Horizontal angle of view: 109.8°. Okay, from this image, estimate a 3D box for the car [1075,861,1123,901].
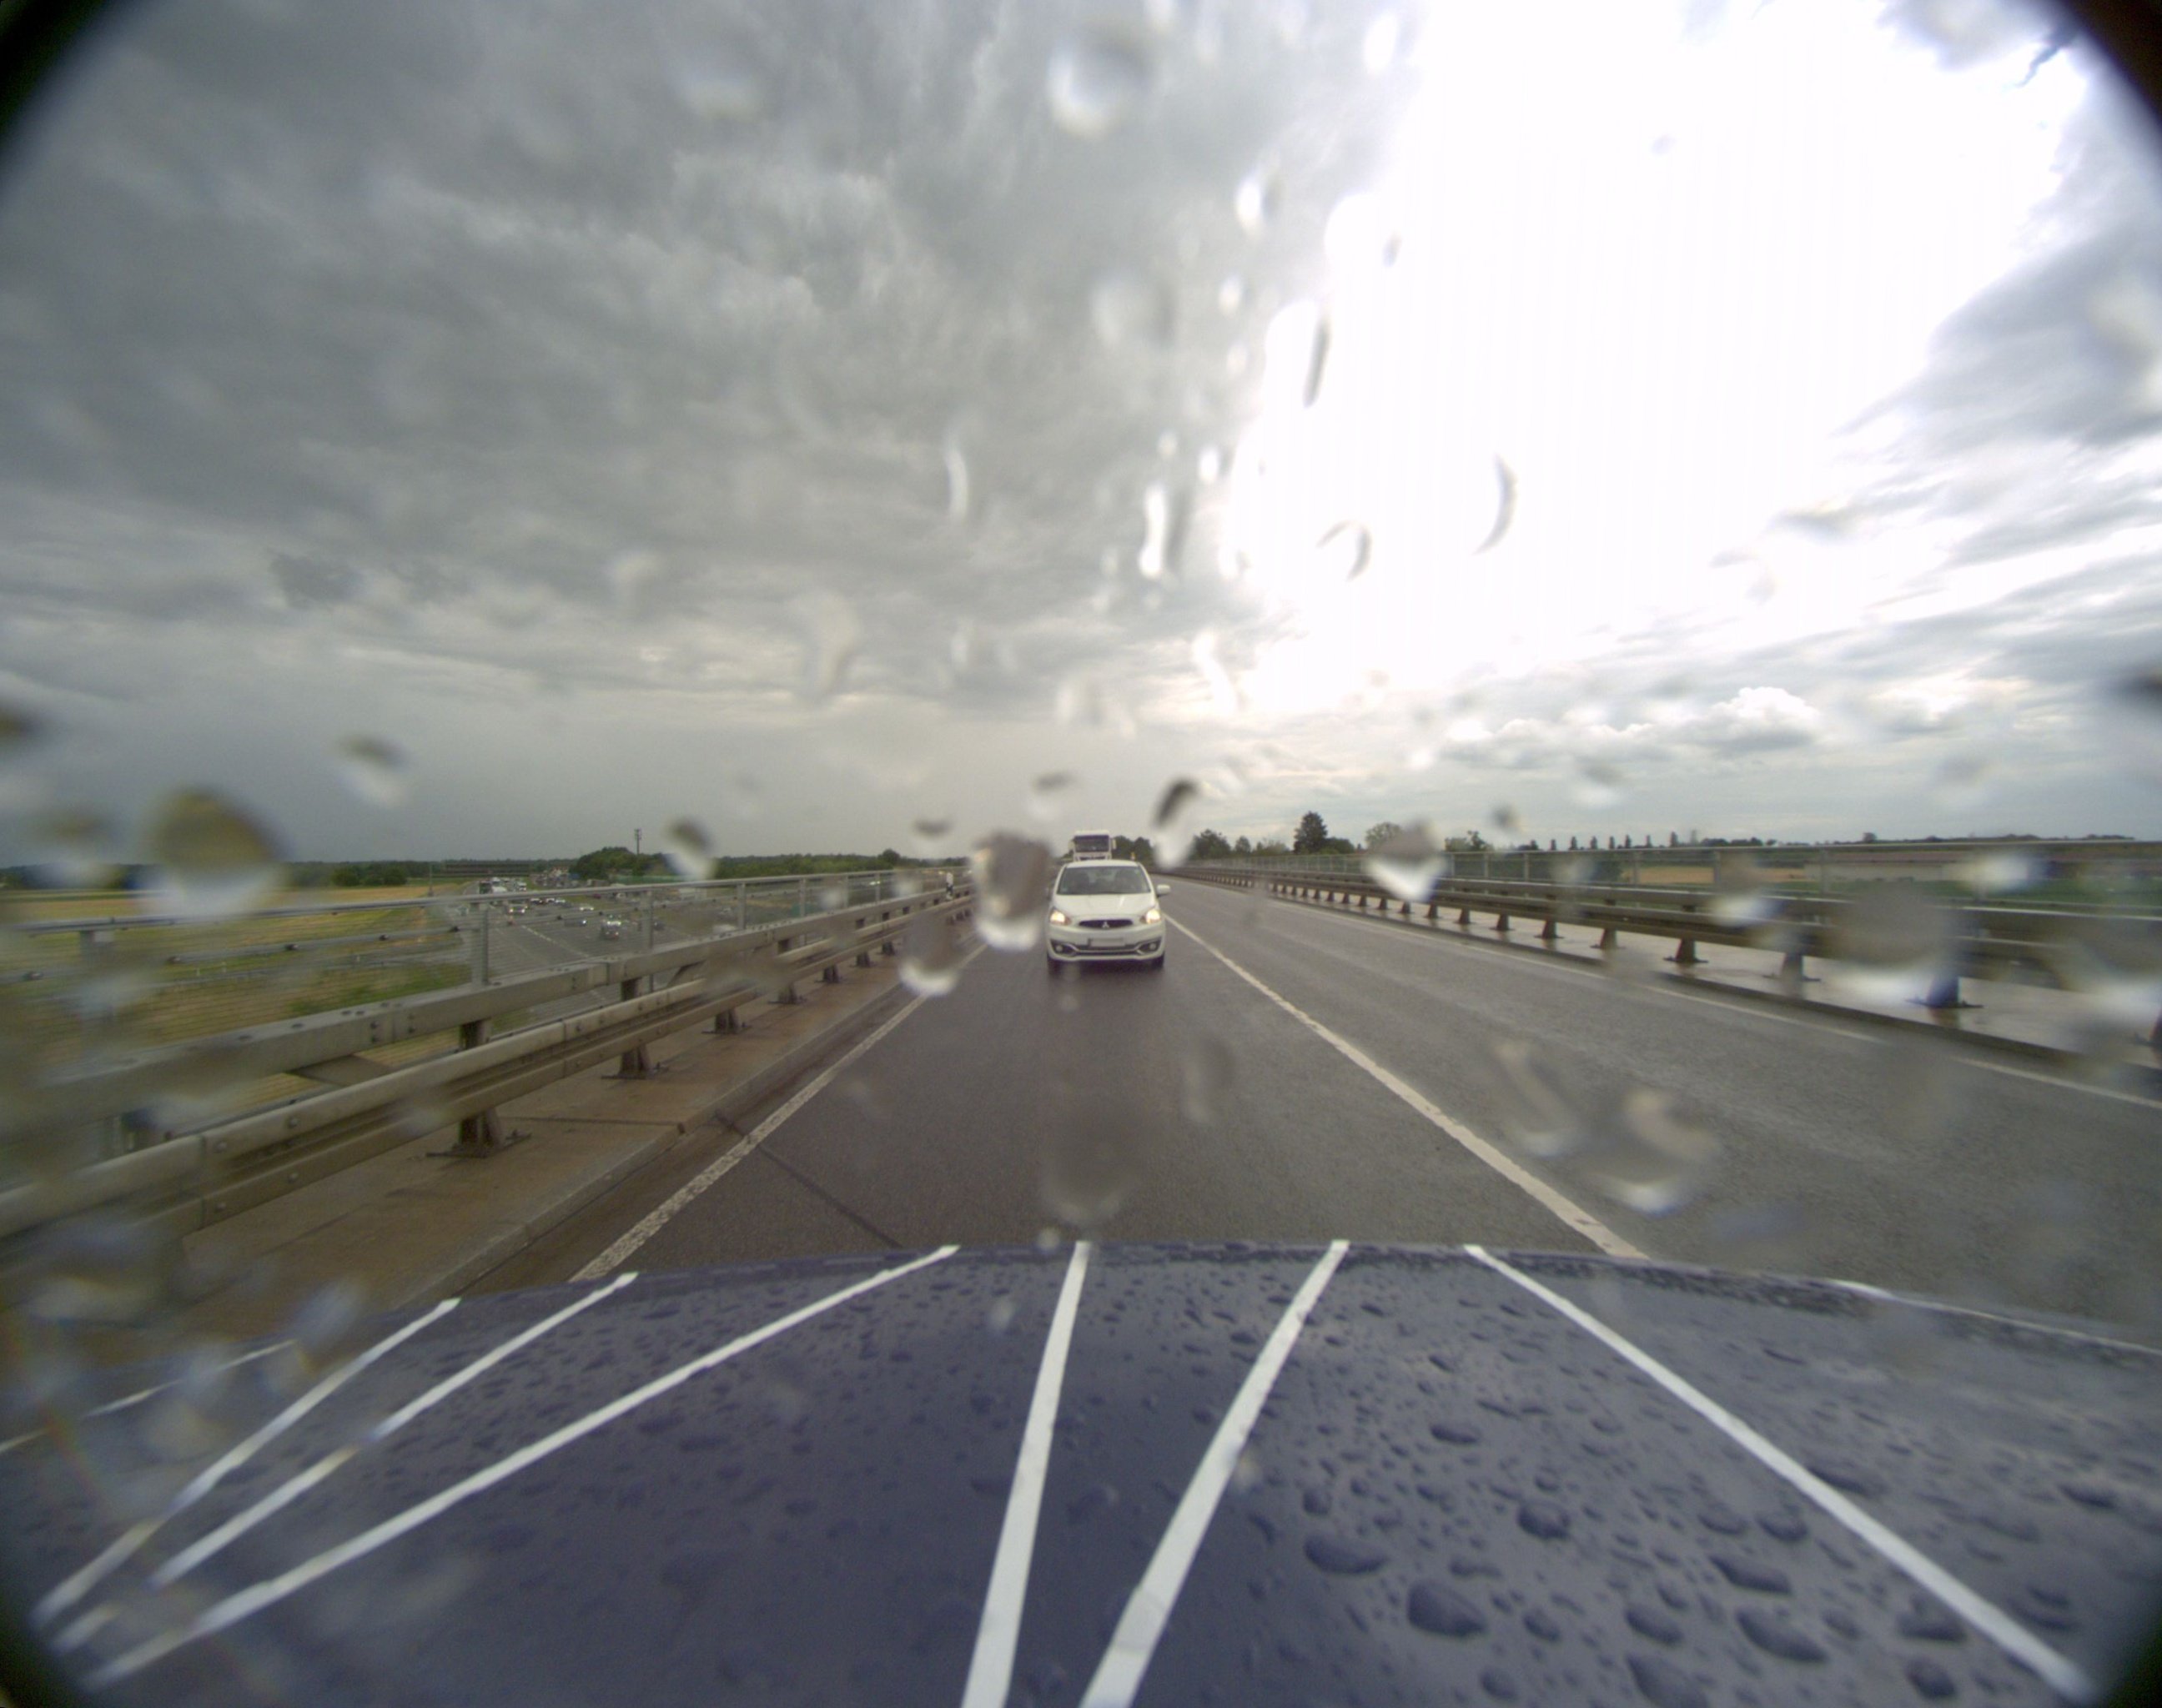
[{"bbox_3d":[0.679,1.012,29.926,1.675,1.366,4.129,-2,0,0],"label":"car"}]

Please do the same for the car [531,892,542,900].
[{"bbox_3d":[-134.610,10.361,187.853,1.860,1.659,4.712,-3,0,-40],"label":"car"}]

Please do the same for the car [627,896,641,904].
[{"bbox_3d":[-102.563,10.568,174.281,1.860,1.659,4.712,-3,0,-40],"label":"car"}]

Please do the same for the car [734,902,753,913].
[{"bbox_3d":[-62.707,9.888,141.075,1.860,1.659,4.712,-3,0,-40],"label":"car"}]

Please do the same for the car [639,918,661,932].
[{"bbox_3d":[-61.359,10.041,108.192,1.860,1.659,4.712,-3,0,-40],"label":"car"}]

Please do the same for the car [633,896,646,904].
[{"bbox_3d":[-106.911,11.161,184.105,1.860,1.659,4.712,-3,0,-40],"label":"car"}]

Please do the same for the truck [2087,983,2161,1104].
[{"bbox_3d":[43.489,7.064,25.699,2.442,3.978,11.140,-3,0,-43],"label":"truck"}]

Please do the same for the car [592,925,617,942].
[{"bbox_3d":[-58.617,9.791,93.395,1.860,1.659,4.712,-3,0,-40],"label":"car"}]

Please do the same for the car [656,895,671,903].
[{"bbox_3d":[-90.682,9.767,165.099,1.860,1.659,4.712,-3,0,-40],"label":"car"}]

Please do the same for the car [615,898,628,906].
[{"bbox_3d":[-104.244,10.905,172.298,1.860,1.659,4.712,-3,0,-40],"label":"car"}]

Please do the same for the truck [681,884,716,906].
[{"bbox_3d":[-87.797,9.240,174.138,3.611,4.511,15.589,-3,0,-39],"label":"truck"}]

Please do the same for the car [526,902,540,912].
[{"bbox_3d":[-114.383,11.056,158.601,1.860,1.659,4.712,-3,0,-40],"label":"car"}]

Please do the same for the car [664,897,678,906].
[{"bbox_3d":[-94.211,10.916,174.457,1.860,1.659,4.712,-3,0,-40],"label":"car"}]

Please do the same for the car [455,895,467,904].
[{"bbox_3d":[-130.633,9.631,160.038,1.860,1.659,4.712,-3,0,-40],"label":"car"}]

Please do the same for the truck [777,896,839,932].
[{"bbox_3d":[-41.453,8.905,114.847,3.611,4.511,15.589,-3,0,-39],"label":"truck"}]

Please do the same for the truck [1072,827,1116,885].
[{"bbox_3d":[0.763,-0.001,51.769,2.631,3.537,8.474,-2,2,0],"label":"truck"}]

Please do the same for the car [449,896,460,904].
[{"bbox_3d":[-148.229,10.935,179.705,1.860,1.659,4.712,-3,0,-40],"label":"car"}]

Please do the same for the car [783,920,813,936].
[{"bbox_3d":[-35.714,9.316,95.896,1.860,1.659,4.712,-3,0,-42],"label":"car"}]

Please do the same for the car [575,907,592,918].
[{"bbox_3d":[-88.818,10.370,135.554,1.860,1.659,4.712,-3,0,-40],"label":"car"}]

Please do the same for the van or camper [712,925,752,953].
[{"bbox_3d":[-38.373,9.247,83.459,2.063,2.436,7.311,-3,0,-40],"label":"van or camper"}]

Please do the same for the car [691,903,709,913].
[{"bbox_3d":[-72.442,10.256,144.348,1.860,1.659,4.712,-3,0,-40],"label":"car"}]

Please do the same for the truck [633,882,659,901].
[{"bbox_3d":[-123.733,10.569,216.171,3.302,5.134,15.589,-3,0,-41],"label":"truck"}]

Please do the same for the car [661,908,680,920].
[{"bbox_3d":[-69.648,10.171,128.907,1.860,1.659,4.712,-3,0,-40],"label":"car"}]

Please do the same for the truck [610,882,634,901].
[{"bbox_3d":[-134.606,10.917,222.684,3.302,5.410,15.589,-3,0,-41],"label":"truck"}]

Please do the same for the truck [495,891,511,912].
[{"bbox_3d":[-136.926,11.189,180.134,2.799,4.590,12.724,-3,0,-37],"label":"truck"}]

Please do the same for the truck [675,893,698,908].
[{"bbox_3d":[-83.571,9.768,160.802,2.216,2.948,9.284,-3,0,-40],"label":"truck"}]

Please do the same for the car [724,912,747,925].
[{"bbox_3d":[-51.598,9.633,113.487,1.860,1.659,4.712,-3,0,-40],"label":"car"}]

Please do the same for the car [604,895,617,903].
[{"bbox_3d":[-116.242,11.122,187.757,1.860,1.659,4.712,-3,0,-40],"label":"car"}]

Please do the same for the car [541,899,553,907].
[{"bbox_3d":[-126.537,11.531,180.172,1.860,1.659,4.712,-3,0,-40],"label":"car"}]

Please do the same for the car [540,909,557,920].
[{"bbox_3d":[-92.688,10.560,132.222,1.860,1.659,4.712,-3,0,-40],"label":"car"}]

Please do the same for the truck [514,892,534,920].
[{"bbox_3d":[-107.168,9.942,146.142,2.799,4.871,12.724,-3,0,-37],"label":"truck"}]

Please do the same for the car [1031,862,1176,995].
[{"bbox_3d":[0.290,0.916,11.137,1.675,1.476,4.129,-2,0,0],"label":"car"}]

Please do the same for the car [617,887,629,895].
[{"bbox_3d":[-120.457,9.745,199.783,1.860,1.764,4.712,-3,0,-40],"label":"car"}]

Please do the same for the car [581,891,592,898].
[{"bbox_3d":[-139.464,11.529,214.375,1.860,1.764,4.712,-3,0,-40],"label":"car"}]

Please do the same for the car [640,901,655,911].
[{"bbox_3d":[-89.260,10.671,156.405,1.860,1.659,4.712,-3,0,-40],"label":"car"}]

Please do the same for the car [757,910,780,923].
[{"bbox_3d":[-47.234,9.477,114.733,1.860,1.659,4.712,-3,0,-40],"label":"car"}]

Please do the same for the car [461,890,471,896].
[{"bbox_3d":[-158.828,10.139,196.263,1.818,1.427,4.712,-3,0,-41],"label":"car"}]

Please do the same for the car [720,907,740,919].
[{"bbox_3d":[-59.507,9.981,128.842,1.860,1.659,4.712,-3,0,-40],"label":"car"}]

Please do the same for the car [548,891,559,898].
[{"bbox_3d":[-137.500,10.651,197.935,1.860,1.659,4.712,-3,0,-40],"label":"car"}]
